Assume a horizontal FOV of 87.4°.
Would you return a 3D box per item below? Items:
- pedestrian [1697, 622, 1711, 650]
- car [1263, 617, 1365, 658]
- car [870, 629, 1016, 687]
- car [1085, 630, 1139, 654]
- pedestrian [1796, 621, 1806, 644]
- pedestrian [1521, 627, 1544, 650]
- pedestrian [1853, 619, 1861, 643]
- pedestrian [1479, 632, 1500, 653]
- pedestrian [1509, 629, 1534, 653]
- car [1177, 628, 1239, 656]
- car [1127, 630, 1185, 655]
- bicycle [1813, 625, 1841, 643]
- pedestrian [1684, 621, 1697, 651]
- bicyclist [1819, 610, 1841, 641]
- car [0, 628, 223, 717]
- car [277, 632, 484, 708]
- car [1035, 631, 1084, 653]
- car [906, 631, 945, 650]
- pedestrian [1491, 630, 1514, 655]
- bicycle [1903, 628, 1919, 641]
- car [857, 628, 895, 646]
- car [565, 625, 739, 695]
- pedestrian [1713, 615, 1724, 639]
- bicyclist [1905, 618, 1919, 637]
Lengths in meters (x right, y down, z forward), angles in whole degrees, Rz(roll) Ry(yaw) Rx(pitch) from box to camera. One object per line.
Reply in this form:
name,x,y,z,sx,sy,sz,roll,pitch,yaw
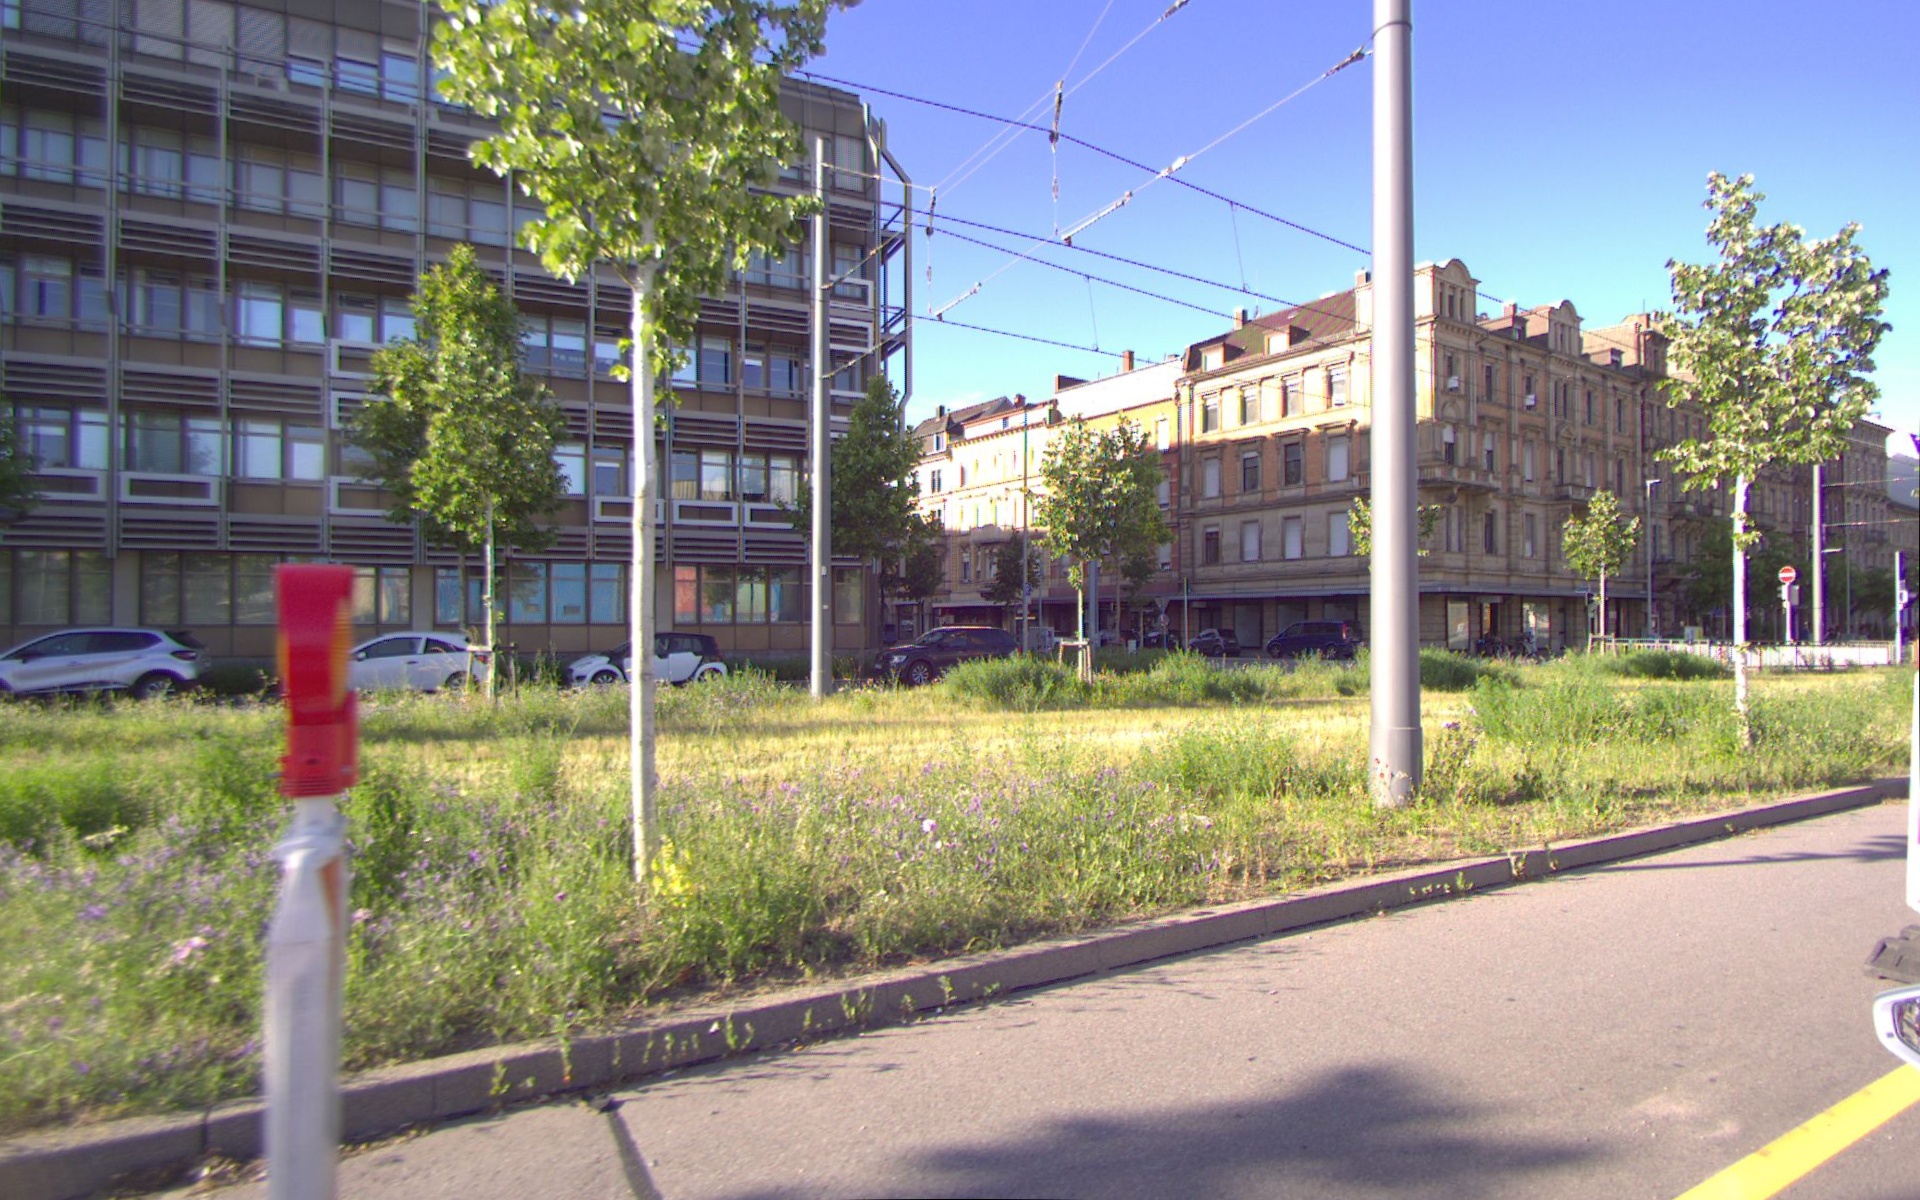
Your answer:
pedestrian,43.583,2.099,58.854,0.528,1.606,0.484,1,0,-34
car,17.506,1.877,49.909,1.881,1.928,4.476,1,-2,-38
car,-0.482,1.616,28.725,3.850,1.481,1.723,0,0,-28
car,9.191,2.536,60.821,1.566,1.427,3.030,1,-2,-38
pedestrian,59.383,2.263,70.937,0.421,1.606,0.401,1,0,-34
pedestrian,30.062,2.009,52.768,0.919,1.224,0.686,1,-2,-33
pedestrian,68.667,2.350,76.869,0.402,1.788,0.364,1,0,-34
pedestrian,27.412,2.208,51.957,0.728,1.073,0.686,1,-2,-33
pedestrian,29.006,2.134,51.854,0.919,1.224,0.787,1,-2,-33
car,13.615,2.287,55.284,1.371,1.487,3.121,1,-2,-38
car,11.358,2.454,58.425,1.566,1.427,3.030,1,-2,-38
bicycle,47.364,1.862,54.866,1.808,0.991,0.691,1,-2,-33
pedestrian,44.144,2.161,60.684,0.402,1.788,0.504,1,0,-34
bicyclist,47.774,1.385,55.153,0.873,1.679,0.691,1,-2,-33
car,-16.844,1.356,19.483,3.833,1.556,1.732,0,-1,-27
car,-12.408,1.453,21.777,3.769,1.460,1.619,0,0,-27
car,6.386,2.708,64.861,1.472,1.427,3.030,1,-2,-38
car,-2.648,3.087,76.994,1.491,1.428,3.014,1,-2,-38
pedestrian,27.492,2.130,50.902,0.919,1.263,0.686,1,-2,-33
bicycle,62.082,2.245,65.341,2.009,0.869,0.633,1,-2,-33
car,-6.973,3.030,82.914,1.585,1.427,3.326,1,-2,-38
car,-7.558,1.419,24.702,3.914,1.574,1.644,0,-1,-26
pedestrian,52.283,1.861,69.226,0.383,1.606,0.385,1,0,-3
bicyclist,61.899,1.784,65.227,0.730,1.256,0.633,1,-2,-33
